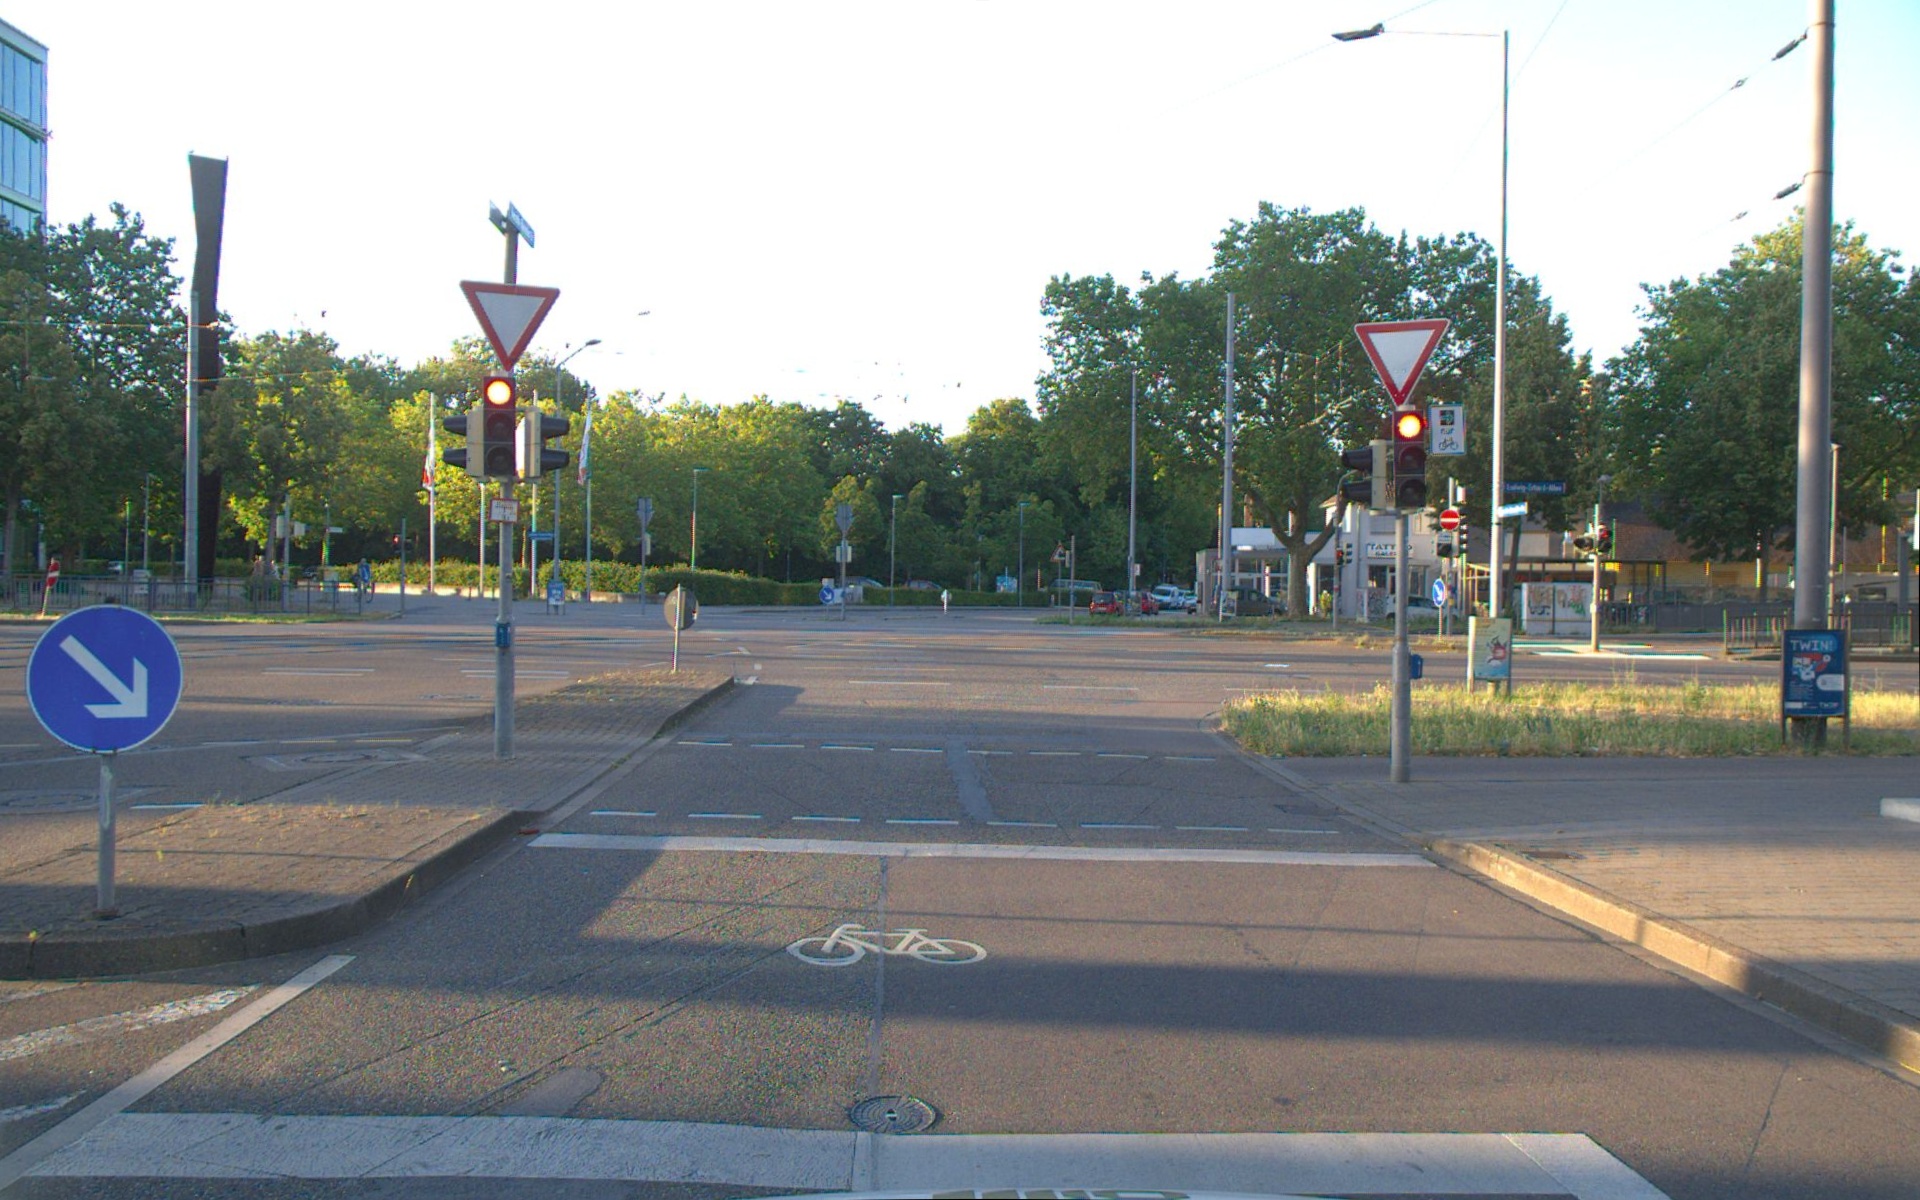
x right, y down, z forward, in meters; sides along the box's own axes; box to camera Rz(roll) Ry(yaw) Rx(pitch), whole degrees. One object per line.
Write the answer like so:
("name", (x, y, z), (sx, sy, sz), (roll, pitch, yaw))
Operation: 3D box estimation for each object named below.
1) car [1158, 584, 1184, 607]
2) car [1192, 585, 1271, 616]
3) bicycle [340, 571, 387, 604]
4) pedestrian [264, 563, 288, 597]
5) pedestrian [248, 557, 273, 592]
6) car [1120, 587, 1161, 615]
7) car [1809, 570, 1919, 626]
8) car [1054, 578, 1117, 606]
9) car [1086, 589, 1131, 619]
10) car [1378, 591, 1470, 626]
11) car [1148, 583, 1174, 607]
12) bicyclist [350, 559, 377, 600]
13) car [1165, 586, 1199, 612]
("car", (17.417, -0.346, 136.349), (1.823, 1.825, 4.003), (0, -1, 12))
("car", (14.662, 0.028, 89.385), (4.129, 1.579, 2.001), (1, -1, 7))
("bicycle", (-25.535, -0.551, 70.764), (2.643, 1.364, 0.728), (1, 1, 43))
("pedestrian", (-35.814, -1.052, 86.576), (0.843, 1.774, 0.829), (1, 0, 28))
("pedestrian", (-36.290, -1.328, 85.815), (0.844, 1.774, 0.828), (1, 0, 31))
("car", (11.328, 0.100, 103.538), (1.951, 1.691, 4.003), (0, -1, 14))
("car", (43.694, -0.094, 78.666), (5.476, 2.596, 2.231), (1, 0, 7))
("car", (9.518, -0.582, 126.023), (4.675, 2.041, 2.000), (1, -1, 1))
("car", (8.630, 0.226, 95.809), (1.951, 1.691, 4.003), (0, -1, 14))
("car", (20.276, 0.385, 72.375), (3.659, 1.465, 1.665), (1, -1, 9))
("car", (16.008, -0.356, 131.433), (1.823, 1.825, 4.003), (1, -1, 10))
("bicyclist", (-25.422, -0.885, 70.482), (0.903, 1.739, 0.749), (1, 0, 40))
("car", (15.564, -0.058, 115.830), (1.951, 1.691, 4.003), (0, -1, 14))
